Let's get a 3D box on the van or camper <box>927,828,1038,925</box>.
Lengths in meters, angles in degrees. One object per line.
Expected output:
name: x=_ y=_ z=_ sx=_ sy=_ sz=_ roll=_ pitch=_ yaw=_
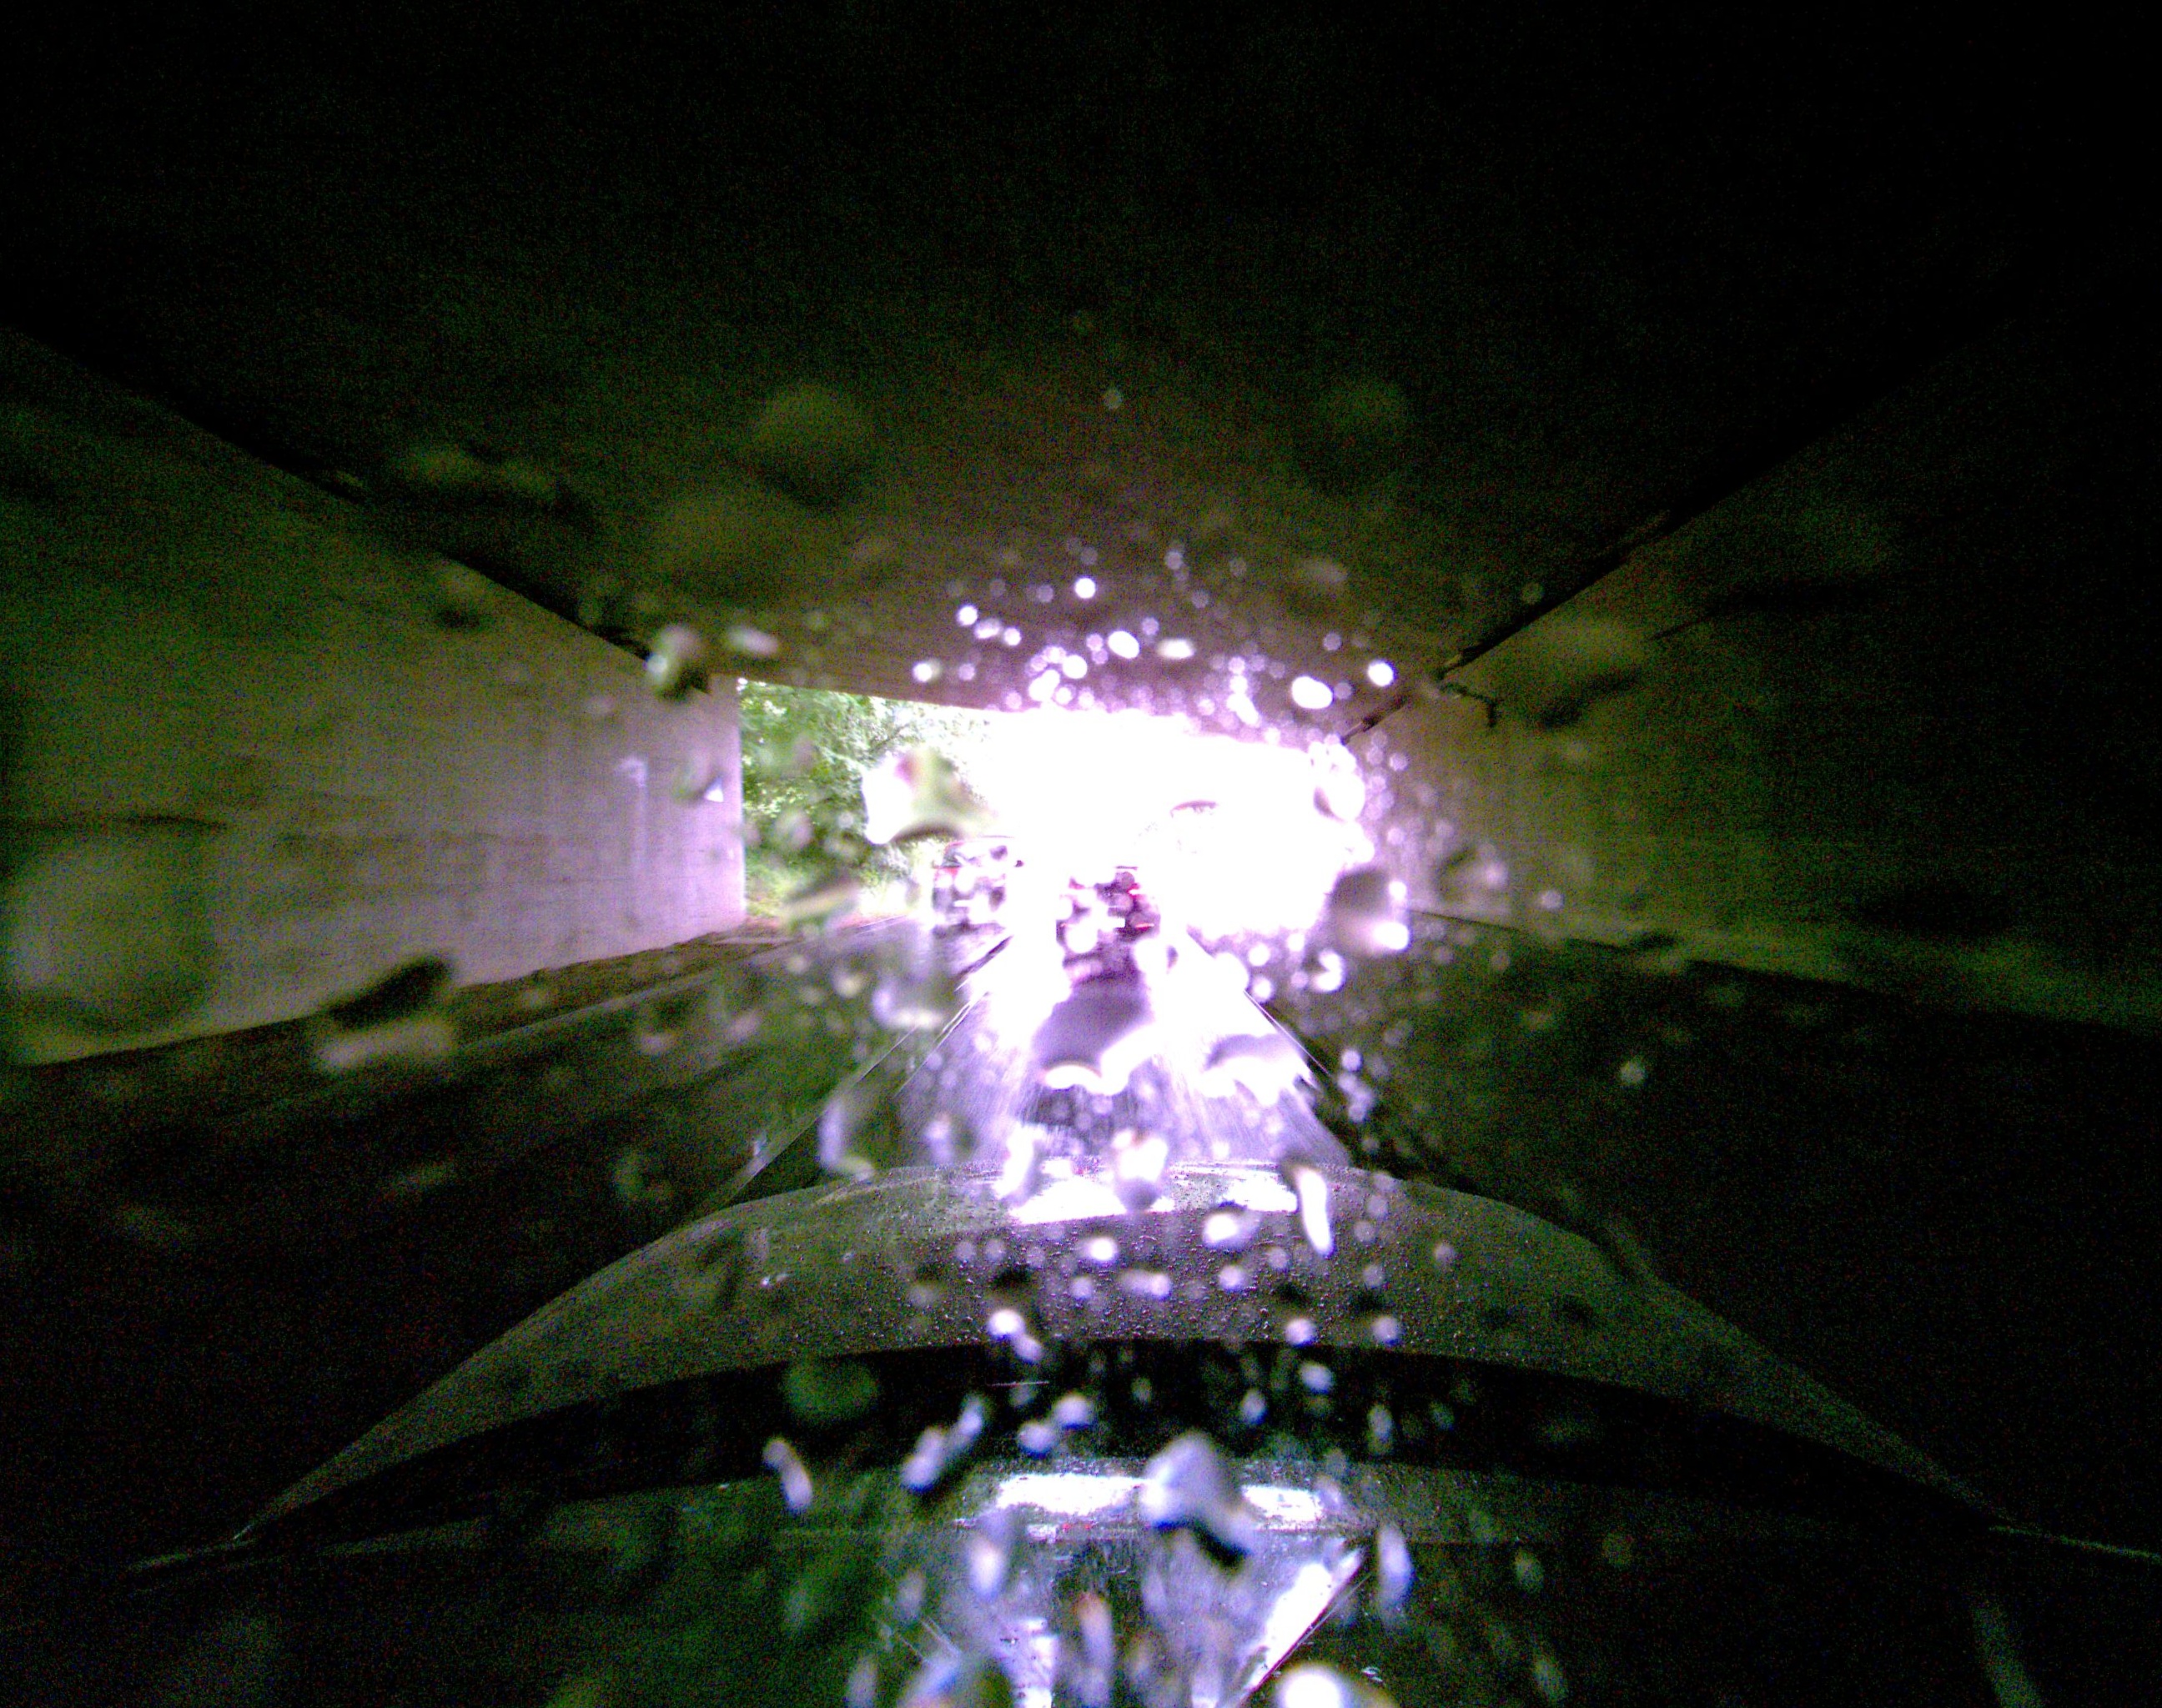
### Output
van or camper: x=-2.271 y=0.498 z=20.073 sx=1.986 sy=2.098 sz=4.694 roll=0 pitch=0 yaw=2

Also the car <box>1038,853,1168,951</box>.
car: x=0.282 y=0.738 z=14.462 sx=1.988 sy=1.487 sz=3.997 roll=0 pitch=0 yaw=-2

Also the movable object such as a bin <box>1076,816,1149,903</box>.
movable object such as a bin: x=1.002 y=0.183 z=28.379 sx=2.238 sy=2.669 sz=6.626 roll=0 pitch=0 yaw=1
